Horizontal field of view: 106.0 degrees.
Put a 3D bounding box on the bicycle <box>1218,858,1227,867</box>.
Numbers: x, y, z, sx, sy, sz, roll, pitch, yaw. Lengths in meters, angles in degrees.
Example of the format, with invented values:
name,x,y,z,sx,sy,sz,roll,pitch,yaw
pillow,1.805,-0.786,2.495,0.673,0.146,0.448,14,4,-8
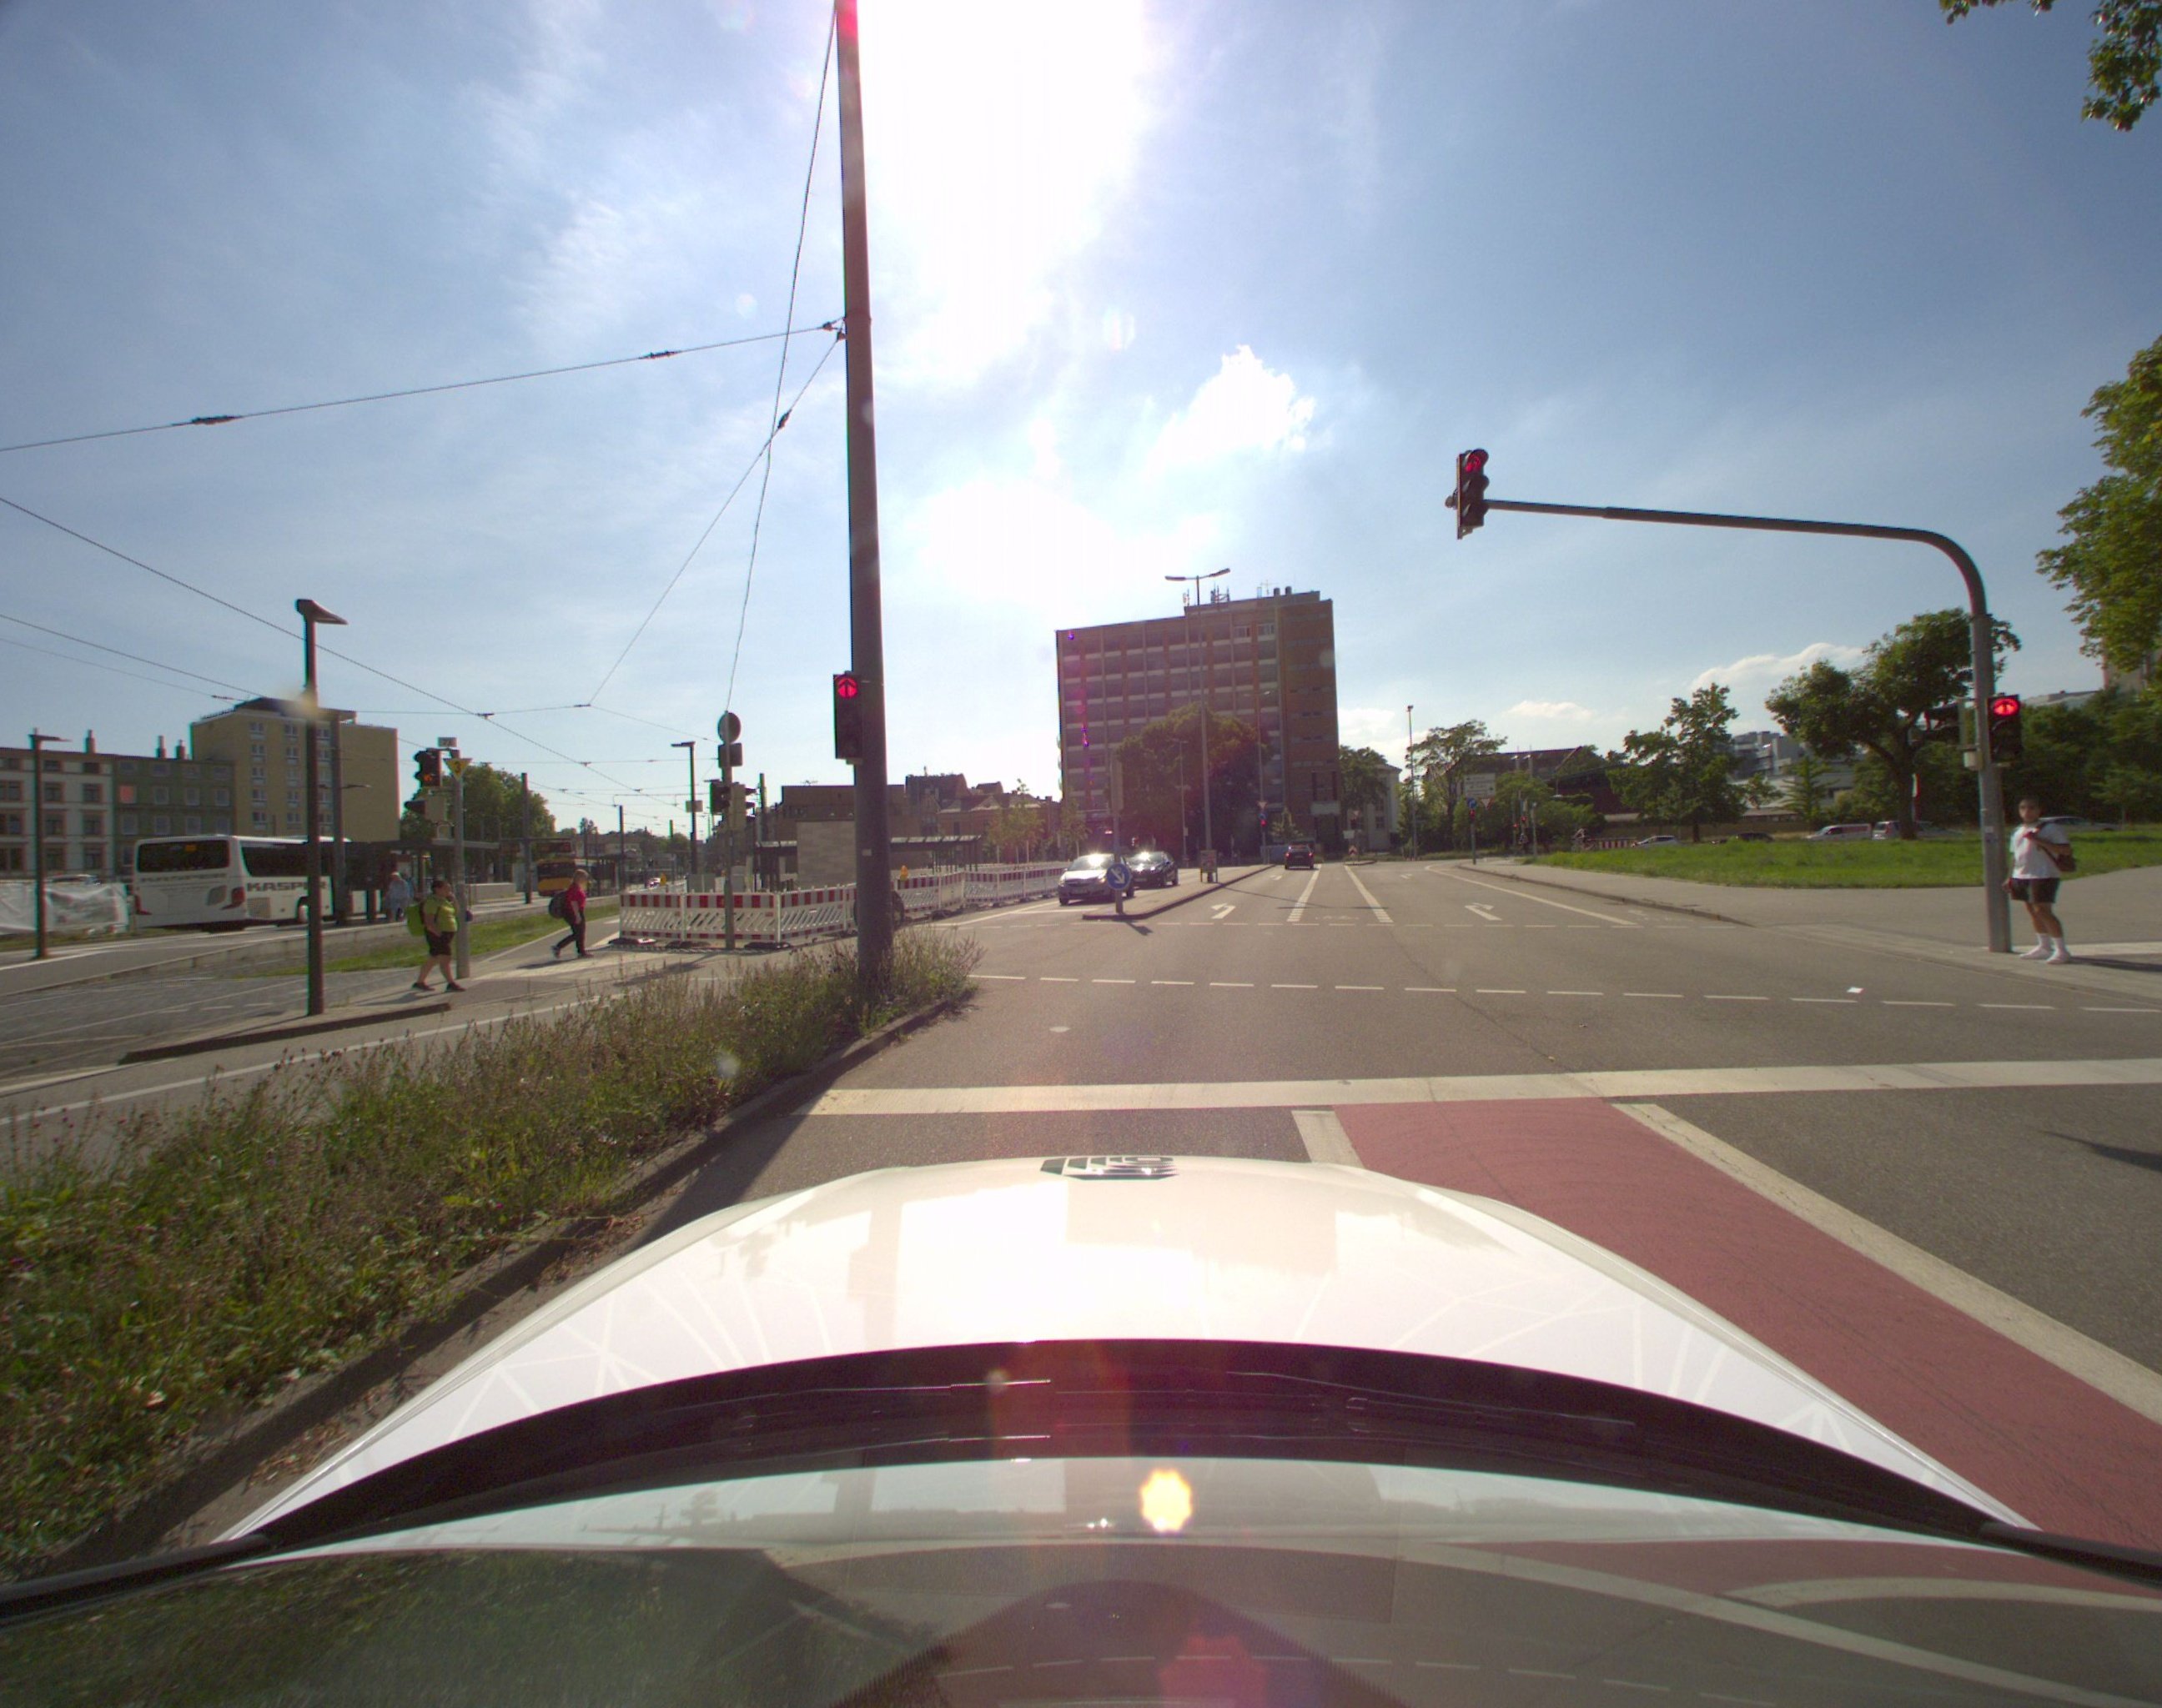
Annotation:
name,x,y,z,sx,sy,sz,roll,pitch,yaw
bicycle,15.706,0.915,90.440,0.699,0.977,2.039,-3,0,15

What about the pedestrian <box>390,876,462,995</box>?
name,x,y,z,sx,sy,sz,roll,pitch,yaw
pedestrian,-8.905,1.084,11.092,0.668,1.543,0.420,0,1,-23

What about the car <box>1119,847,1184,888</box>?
name,x,y,z,sx,sy,sz,roll,pitch,yaw
car,2.913,0.510,32.899,1.653,1.451,3.836,-5,-1,18

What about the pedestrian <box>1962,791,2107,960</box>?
name,x,y,z,sx,sy,sz,roll,pitch,yaw
pedestrian,11.199,0.243,9.594,0.650,1.874,0.796,-4,0,-1

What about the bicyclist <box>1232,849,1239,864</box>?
name,x,y,z,sx,sy,sz,roll,pitch,yaw
bicyclist,16.677,0.306,87.836,0.614,1.582,1.017,-5,-1,12

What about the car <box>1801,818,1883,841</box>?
name,x,y,z,sx,sy,sz,roll,pitch,yaw
car,60.324,-1.938,64.625,4.276,1.569,1.919,-3,0,17

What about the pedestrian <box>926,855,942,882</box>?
name,x,y,z,sx,sy,sz,roll,pitch,yaw
pedestrian,-9.708,0.969,53.910,0.733,1.752,1.111,-3,-3,1

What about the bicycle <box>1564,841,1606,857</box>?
name,x,y,z,sx,sy,sz,roll,pitch,yaw
bicycle,31.230,-0.307,50.523,0.676,0.916,2.150,-3,0,-25

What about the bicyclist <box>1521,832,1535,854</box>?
name,x,y,z,sx,sy,sz,roll,pitch,yaw
bicyclist,34.186,-0.832,62.289,0.673,1.655,0.923,-3,0,17

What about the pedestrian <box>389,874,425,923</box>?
name,x,y,z,sx,sy,sz,roll,pitch,yaw
pedestrian,-23.043,1.518,27.836,0.687,1.615,0.584,-2,0,-9

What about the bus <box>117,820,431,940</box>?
name,x,y,z,sx,sy,sz,roll,pitch,yaw
bus,-29.326,0.855,30.842,2.861,3.489,12.582,-3,0,-18

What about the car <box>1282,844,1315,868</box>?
name,x,y,z,sx,sy,sz,roll,pitch,yaw
car,13.475,0.096,50.312,1.766,1.443,3.835,-1,0,18

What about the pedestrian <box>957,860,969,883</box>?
name,x,y,z,sx,sy,sz,roll,pitch,yaw
pedestrian,-8.011,1.164,55.193,0.628,1.491,0.617,-3,0,1

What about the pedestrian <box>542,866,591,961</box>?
name,x,y,z,sx,sy,sz,roll,pitch,yaw
pedestrian,-9.190,1.049,14.553,0.689,1.616,0.347,-2,0,-33

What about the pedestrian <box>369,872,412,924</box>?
name,x,y,z,sx,sy,sz,roll,pitch,yaw
pedestrian,-22.519,1.423,26.574,0.790,1.615,0.661,-2,0,-4

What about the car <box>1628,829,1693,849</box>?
name,x,y,z,sx,sy,sz,roll,pitch,yaw
car,48.869,-1.225,68.754,3.956,1.464,2.009,-3,-1,17

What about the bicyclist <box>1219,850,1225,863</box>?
name,x,y,z,sx,sy,sz,roll,pitch,yaw
bicyclist,15.633,0.251,90.234,0.535,1.417,1.034,-4,-2,15

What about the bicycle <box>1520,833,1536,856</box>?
name,x,y,z,sx,sy,sz,roll,pitch,yaw
bicycle,34.208,-0.732,62.343,0.673,1.765,1.819,-3,0,17

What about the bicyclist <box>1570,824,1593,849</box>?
name,x,y,z,sx,sy,sz,roll,pitch,yaw
bicyclist,31.110,-1.075,50.638,0.497,1.470,1.133,0,-1,-26

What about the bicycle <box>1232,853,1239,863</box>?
name,x,y,z,sx,sy,sz,roll,pitch,yaw
bicycle,16.685,0.404,87.834,0.614,0.961,1.975,-5,-1,12

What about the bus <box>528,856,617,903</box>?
name,x,y,z,sx,sy,sz,roll,pitch,yaw
bus,-40.465,1.918,65.335,2.861,3.281,12.582,-3,0,-18

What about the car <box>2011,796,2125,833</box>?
name,x,y,z,sx,sy,sz,roll,pitch,yaw
car,60.387,-2.375,49.924,3.951,2.014,2.011,-1,-1,24

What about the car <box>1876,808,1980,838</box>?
name,x,y,z,sx,sy,sz,roll,pitch,yaw
car,51.278,-1.844,49.380,3.955,1.508,1.760,-3,0,17

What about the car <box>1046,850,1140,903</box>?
name,x,y,z,sx,sy,sz,roll,pitch,yaw
car,0.472,0.652,25.520,1.779,1.412,4.018,-4,-1,18
